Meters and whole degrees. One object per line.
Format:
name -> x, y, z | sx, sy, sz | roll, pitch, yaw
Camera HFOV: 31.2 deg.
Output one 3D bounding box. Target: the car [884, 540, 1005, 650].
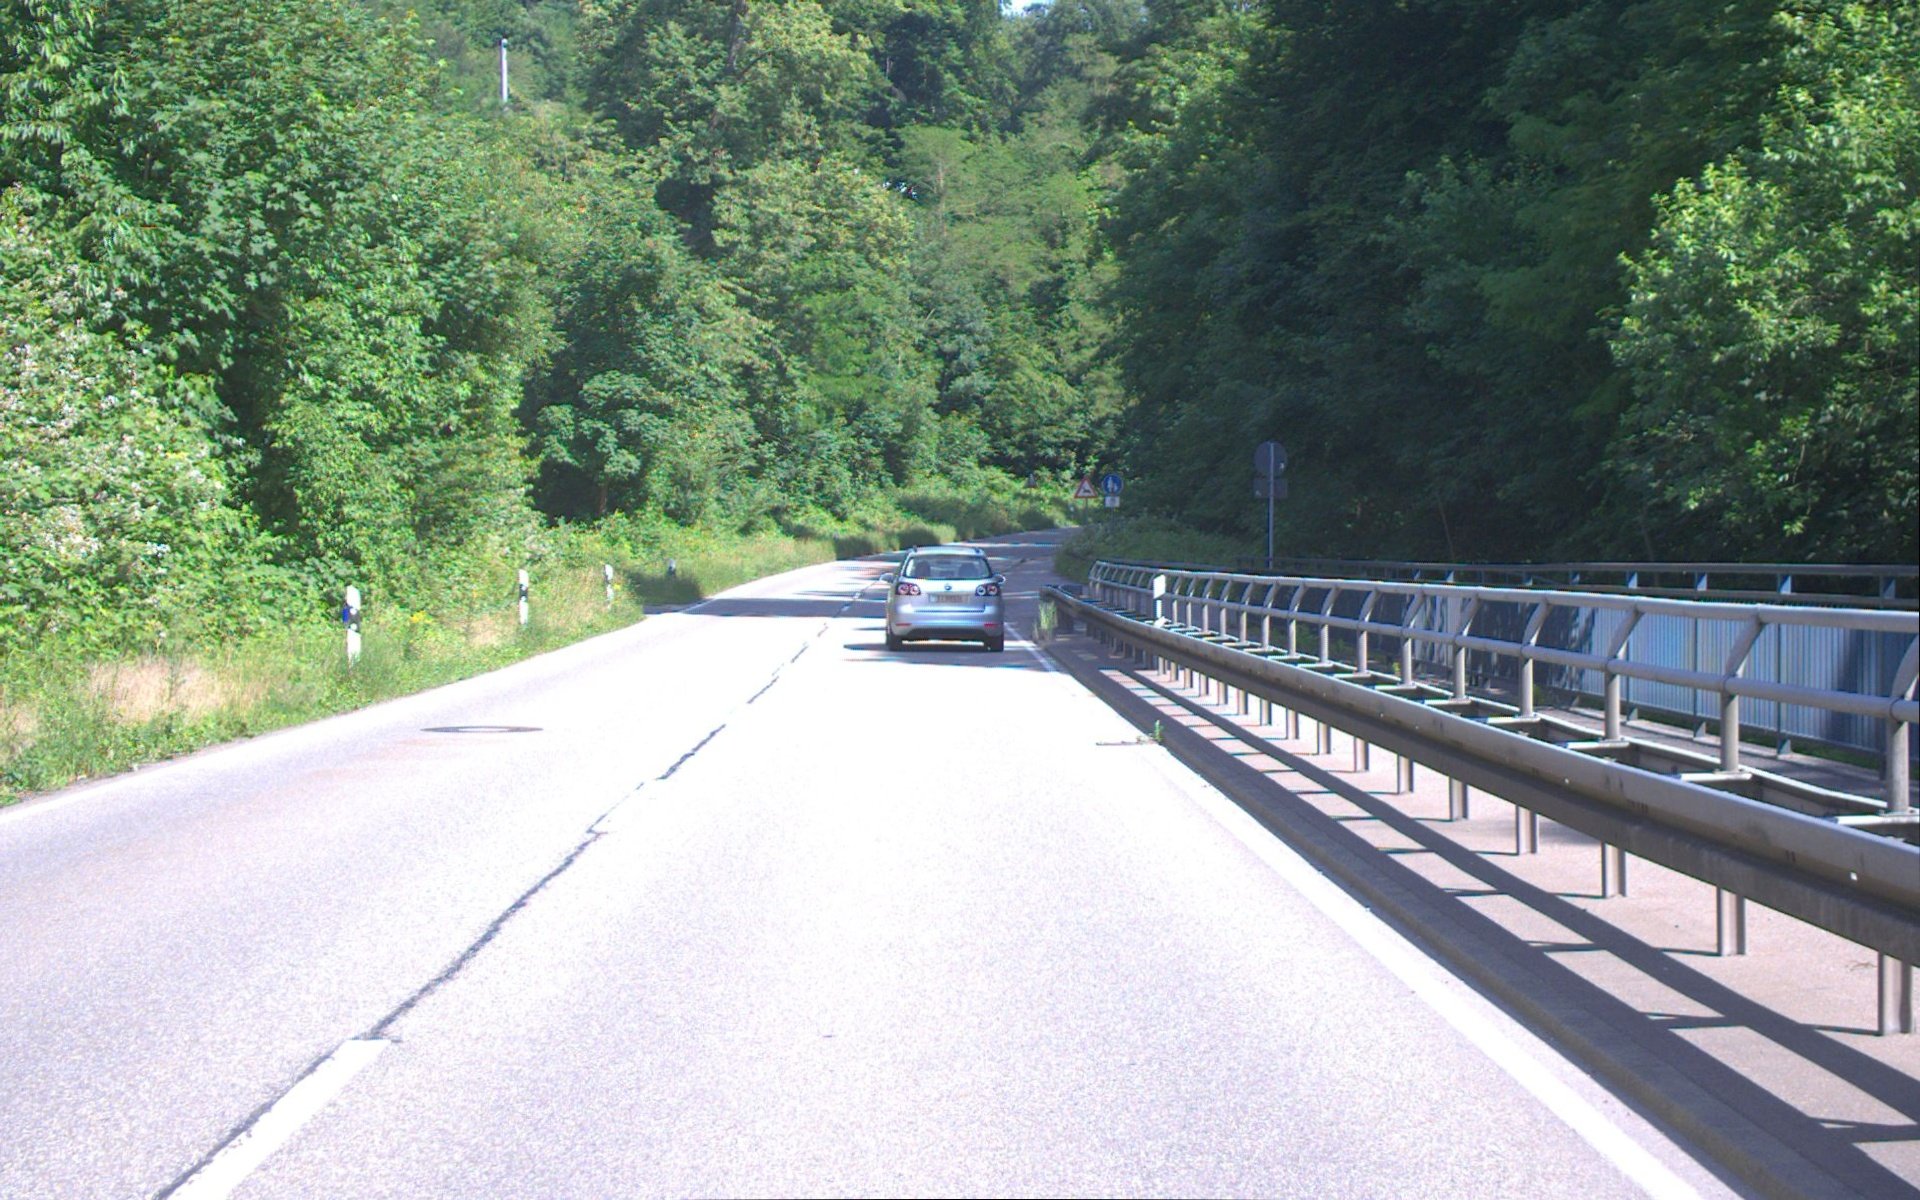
car -> -0.258, -0.107, 52.696 | 1.751, 1.514, 4.160 | 1, 2, -1
